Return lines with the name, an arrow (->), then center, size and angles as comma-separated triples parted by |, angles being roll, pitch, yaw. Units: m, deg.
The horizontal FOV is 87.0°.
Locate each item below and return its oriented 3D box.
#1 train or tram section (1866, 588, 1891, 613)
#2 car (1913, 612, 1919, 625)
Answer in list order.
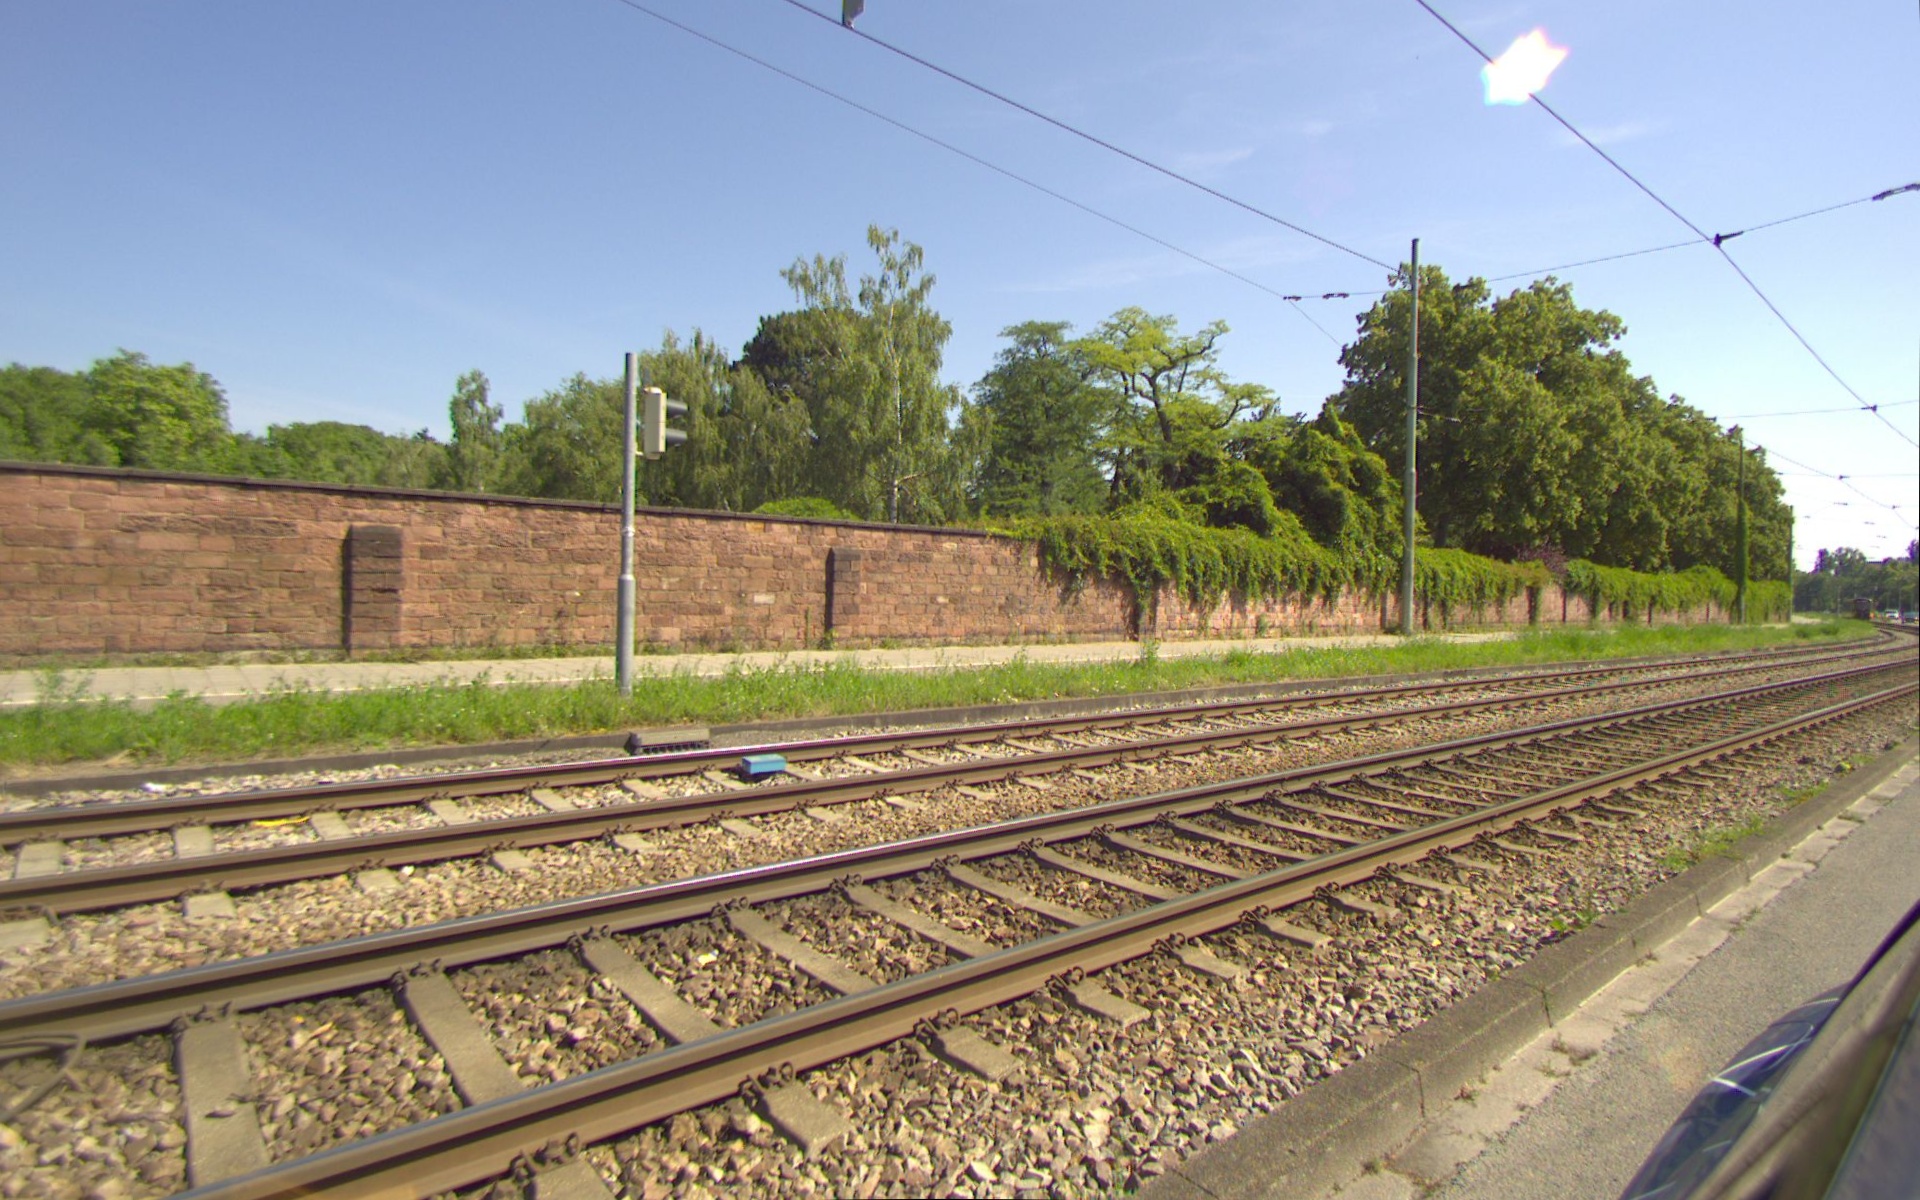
train or tram section -> 147.093, 0.130, 162.046 | 2.713, 3.785, 18.583 | 0, 0, 43
car -> 135.006, 2.541, 141.733 | 3.932, 1.739, 1.851 | 0, 0, -43
